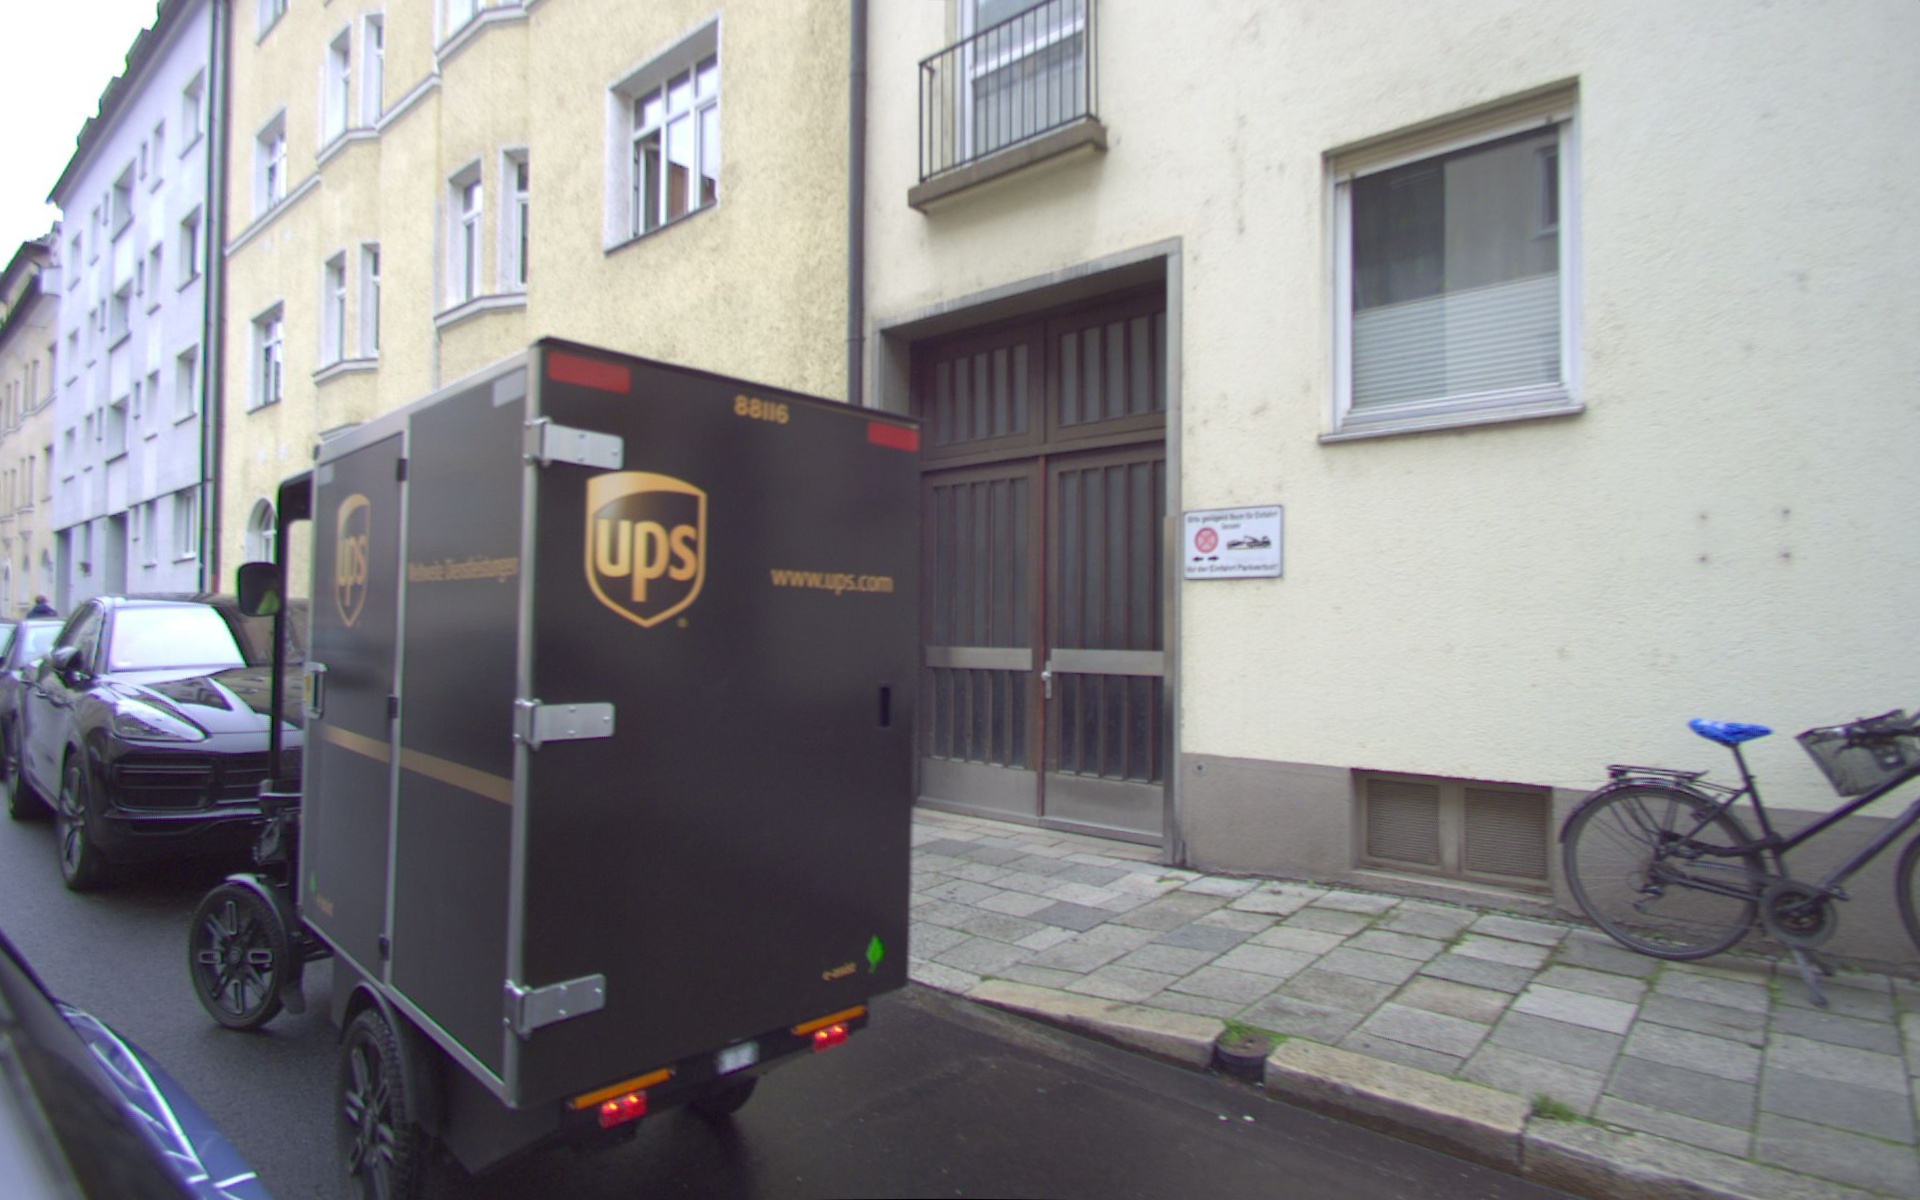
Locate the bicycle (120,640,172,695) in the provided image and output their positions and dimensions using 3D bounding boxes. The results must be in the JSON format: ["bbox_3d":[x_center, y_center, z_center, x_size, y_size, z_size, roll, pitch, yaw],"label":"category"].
[{"bbox_3d":[-16.564,1.355,20.582,1.569,1.038,0.540,0,-1,40],"label":"bicycle"}]

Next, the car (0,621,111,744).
[{"bbox_3d":[-12.803,1.018,13.507,3.760,1.471,1.547,-1,-3,39],"label":"car"}]

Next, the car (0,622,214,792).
[{"bbox_3d":[-9.129,0.977,10.500,3.475,1.471,1.546,-1,-3,42],"label":"car"}]

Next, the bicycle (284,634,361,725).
[{"bbox_3d":[-9.088,1.096,14.406,1.631,1.199,0.434,0,-1,40],"label":"bicycle"}]

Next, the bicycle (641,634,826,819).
[{"bbox_3d":[-1.830,0.945,8.070,1.550,1.288,0.588,-1,1,39],"label":"bicycle"}]

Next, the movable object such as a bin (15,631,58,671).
[{"bbox_3d":[-26.409,1.459,28.955,0.622,1.059,0.799,-1,2,40],"label":"movable object such as a bin"}]

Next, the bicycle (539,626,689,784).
[{"bbox_3d":[-3.158,0.897,9.177,1.550,1.288,0.529,-1,1,40],"label":"bicycle"}]

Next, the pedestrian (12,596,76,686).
[{"bbox_3d":[-18.692,0.821,20.655,1.067,1.778,0.830,-1,-1,40],"label":"pedestrian"}]

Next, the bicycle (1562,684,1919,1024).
[{"bbox_3d":[3.284,0.869,3.636,1.813,1.035,0.688,-2,-1,42],"label":"bicycle"}]

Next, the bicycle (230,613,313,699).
[{"bbox_3d":[-10.510,0.826,15.438,1.735,1.243,0.587,0,-1,40],"label":"bicycle"}]

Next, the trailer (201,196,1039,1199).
[{"bbox_3d":[-1.406,0.472,3.213,1.338,2.132,3.323,1,-1,-41],"label":"trailer"}]

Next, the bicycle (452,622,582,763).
[{"bbox_3d":[-4.472,0.882,10.171,1.550,1.288,0.529,-1,1,40],"label":"bicycle"}]

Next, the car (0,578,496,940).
[{"bbox_3d":[-5.068,0.793,6.891,4.414,1.672,1.859,-1,-3,42],"label":"car"}]

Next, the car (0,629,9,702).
[{"bbox_3d":[-20.937,1.245,20.545,4.247,1.397,1.793,0,-3,39],"label":"car"}]

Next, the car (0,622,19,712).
[{"bbox_3d":[-17.398,1.099,17.350,3.403,1.471,1.546,-1,-3,42],"label":"car"}]
